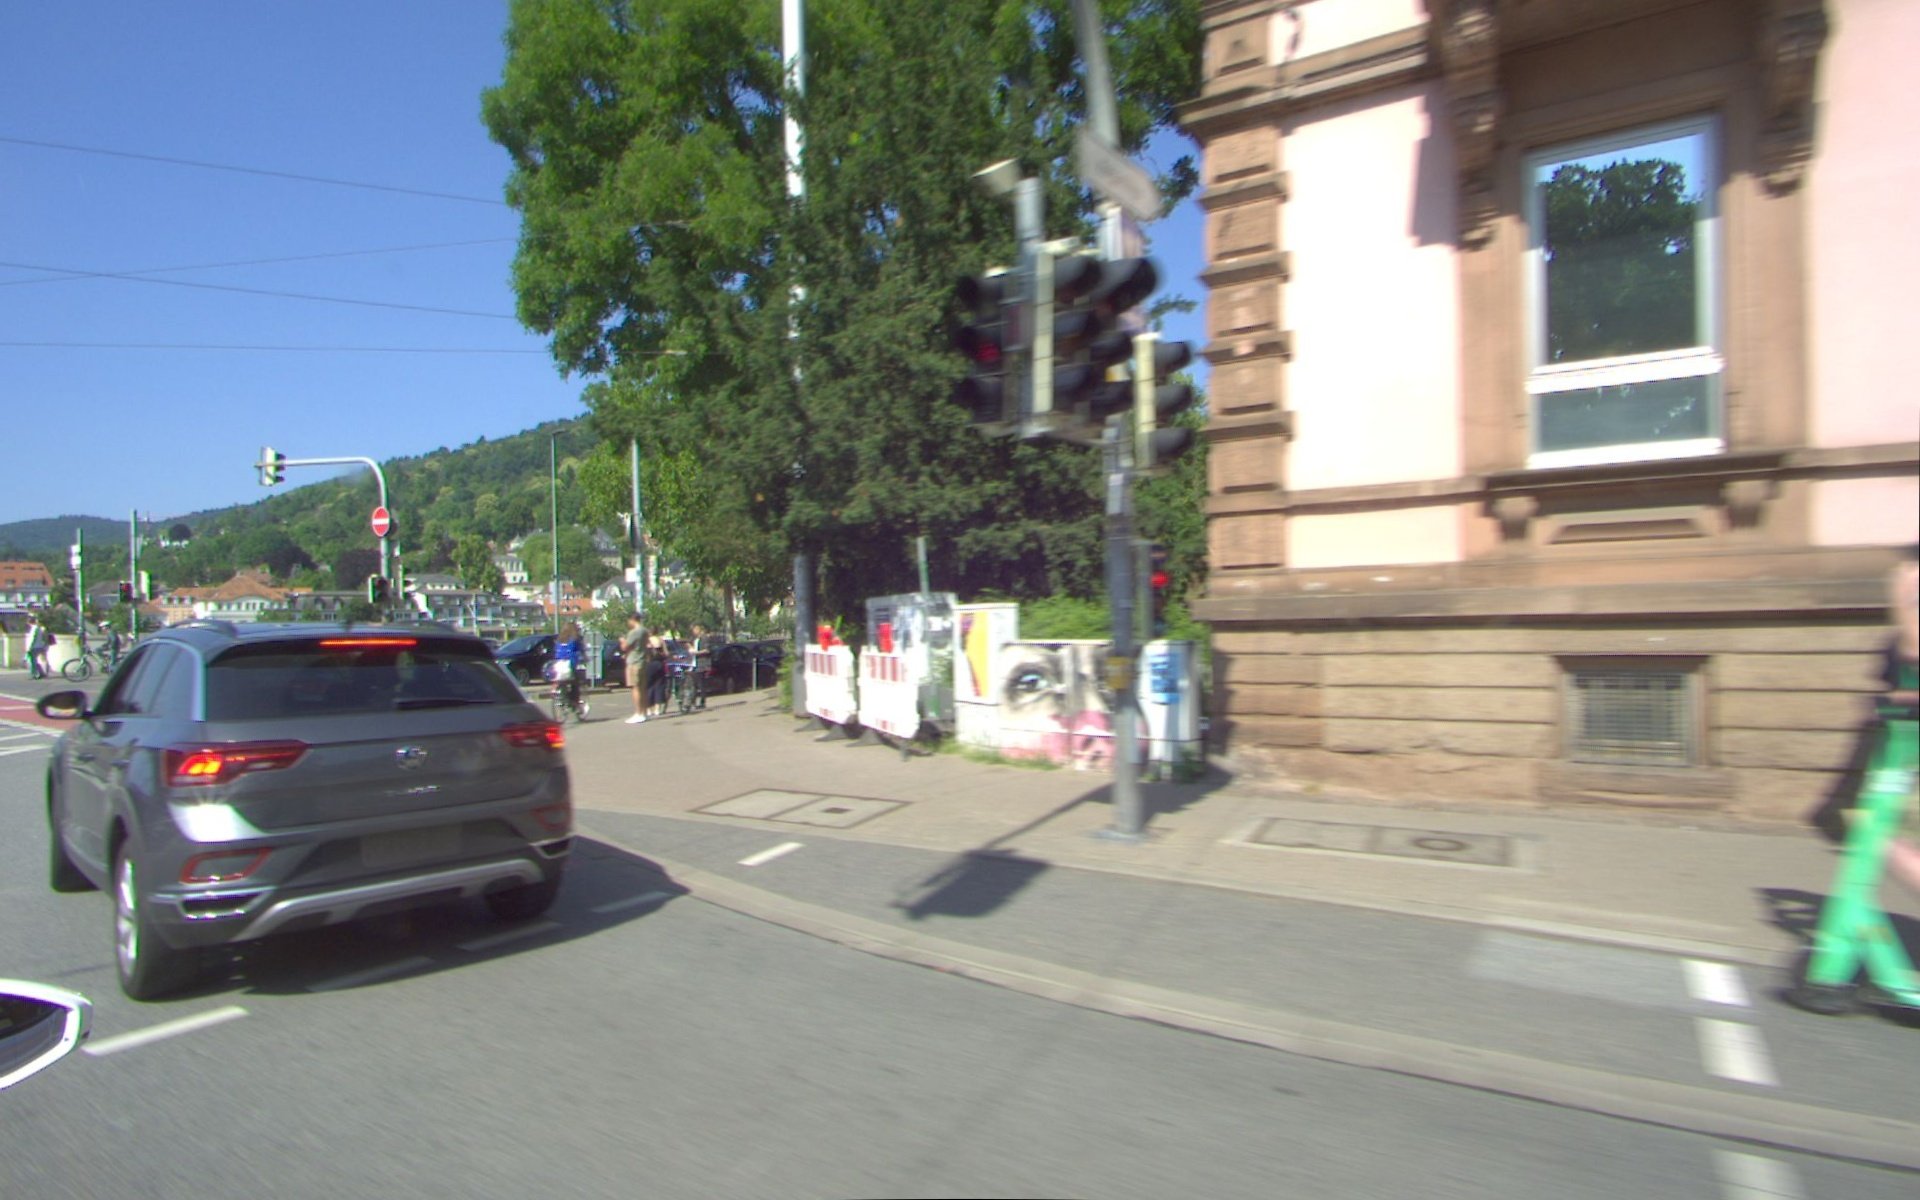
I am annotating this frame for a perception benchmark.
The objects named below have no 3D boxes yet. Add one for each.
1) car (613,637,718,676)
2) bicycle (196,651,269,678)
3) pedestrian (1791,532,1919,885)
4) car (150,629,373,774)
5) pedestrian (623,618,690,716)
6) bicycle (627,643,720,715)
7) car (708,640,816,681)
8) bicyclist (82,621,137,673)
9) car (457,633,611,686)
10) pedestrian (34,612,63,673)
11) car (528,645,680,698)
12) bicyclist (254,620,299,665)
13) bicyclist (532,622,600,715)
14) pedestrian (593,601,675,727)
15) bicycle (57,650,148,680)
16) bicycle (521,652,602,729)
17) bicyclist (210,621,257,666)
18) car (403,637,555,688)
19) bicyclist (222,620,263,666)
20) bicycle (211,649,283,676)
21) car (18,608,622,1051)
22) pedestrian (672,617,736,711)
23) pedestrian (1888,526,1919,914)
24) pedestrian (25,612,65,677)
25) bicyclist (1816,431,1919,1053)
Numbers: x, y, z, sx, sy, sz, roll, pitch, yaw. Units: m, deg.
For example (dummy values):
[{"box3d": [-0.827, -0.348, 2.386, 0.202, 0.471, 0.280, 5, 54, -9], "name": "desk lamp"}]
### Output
[{"box3d": [-12.073, 2.272, 41.355, 1.815, 1.466, 4.477, 0, -2, 21], "name": "car"}, {"box3d": [-24.678, 2.179, 33.994, 0.558, 0.837, 1.932, 0, -2, 38], "name": "bicycle"}, {"box3d": [5.078, 0.541, 5.284, 0.889, 1.775, 0.705, -2, 0, 27], "name": "pedestrian"}, {"box3d": [-8.719, 1.138, 12.873, 1.972, 1.510, 4.263, 1, -2, -30], "name": "car"}, {"box3d": [-5.656, 1.241, 18.654, 0.880, 1.731, 0.673, -5, -2, 30], "name": "pedestrian"}, {"box3d": [-5.412, 1.505, 18.814, 0.793, 1.220, 2.258, -3, -2, -39], "name": "bicycle"}, {"box3d": [-7.463, 2.250, 38.193, 1.816, 1.397, 4.475, 0, -2, 23], "name": "car"}, {"box3d": [-24.903, 1.359, 29.336, 0.790, 1.493, 1.076, 0, -1, 38], "name": "bicyclist"}, {"box3d": [-13.343, 1.818, 31.658, 1.816, 1.525, 4.475, 0, -2, 23], "name": "car"}, {"box3d": [-27.131, 1.259, 29.806, 0.569, 1.783, 0.532, 0, 0, 37], "name": "pedestrian"}, {"box3d": [-10.596, 2.094, 30.174, 1.851, 1.375, 4.304, 0, -2, 25], "name": "car"}, {"box3d": [-23.531, 1.459, 34.475, 0.918, 1.493, 1.074, -1, -2, 42], "name": "bicyclist"}, {"box3d": [-6.943, 1.181, 17.688, 0.762, 1.574, 1.060, 0, 0, -1], "name": "bicyclist"}, {"box3d": [-5.466, 1.041, 16.797, 1.043, 2.040, 0.774, -1, 1, 29], "name": "pedestrian"}, {"box3d": [-24.995, 1.880, 29.222, 0.558, 0.837, 1.932, 0, -2, 38], "name": "bicycle"}, {"box3d": [-6.944, 1.542, 17.558, 0.605, 1.179, 2.250, -1, -1, -2], "name": "bicycle"}, {"box3d": [-24.665, 1.466, 34.004, 0.917, 1.493, 1.075, 0, -2, 40], "name": "bicyclist"}, {"box3d": [-15.992, 2.049, 33.547, 1.816, 1.414, 4.473, -1, 0, 23], "name": "car"}, {"box3d": [-23.892, 1.440, 33.380, 1.070, 1.493, 0.757, 1, -1, -35], "name": "bicyclist"}, {"box3d": [-23.777, 2.083, 33.442, 1.919, 0.864, 0.562, 2, -2, -33], "name": "bicycle"}, {"box3d": [-3.734, 0.864, 5.544, 3.950, 1.535, 1.919, -2, -2, 43], "name": "car"}, {"box3d": [-5.129, 1.279, 20.131, 0.689, 1.803, 1.058, -5, -2, 18], "name": "pedestrian"}, {"box3d": [4.820, 0.547, 4.420, 0.889, 1.792, 0.704, -1, 1, 27], "name": "pedestrian"}, {"box3d": [-26.969, 1.301, 29.523, 0.636, 1.879, 0.771, 0, 0, 37], "name": "pedestrian"}, {"box3d": [3.680, 0.460, 3.520, 0.817, 2.040, 0.940, -1, 1, 28], "name": "bicyclist"}]
